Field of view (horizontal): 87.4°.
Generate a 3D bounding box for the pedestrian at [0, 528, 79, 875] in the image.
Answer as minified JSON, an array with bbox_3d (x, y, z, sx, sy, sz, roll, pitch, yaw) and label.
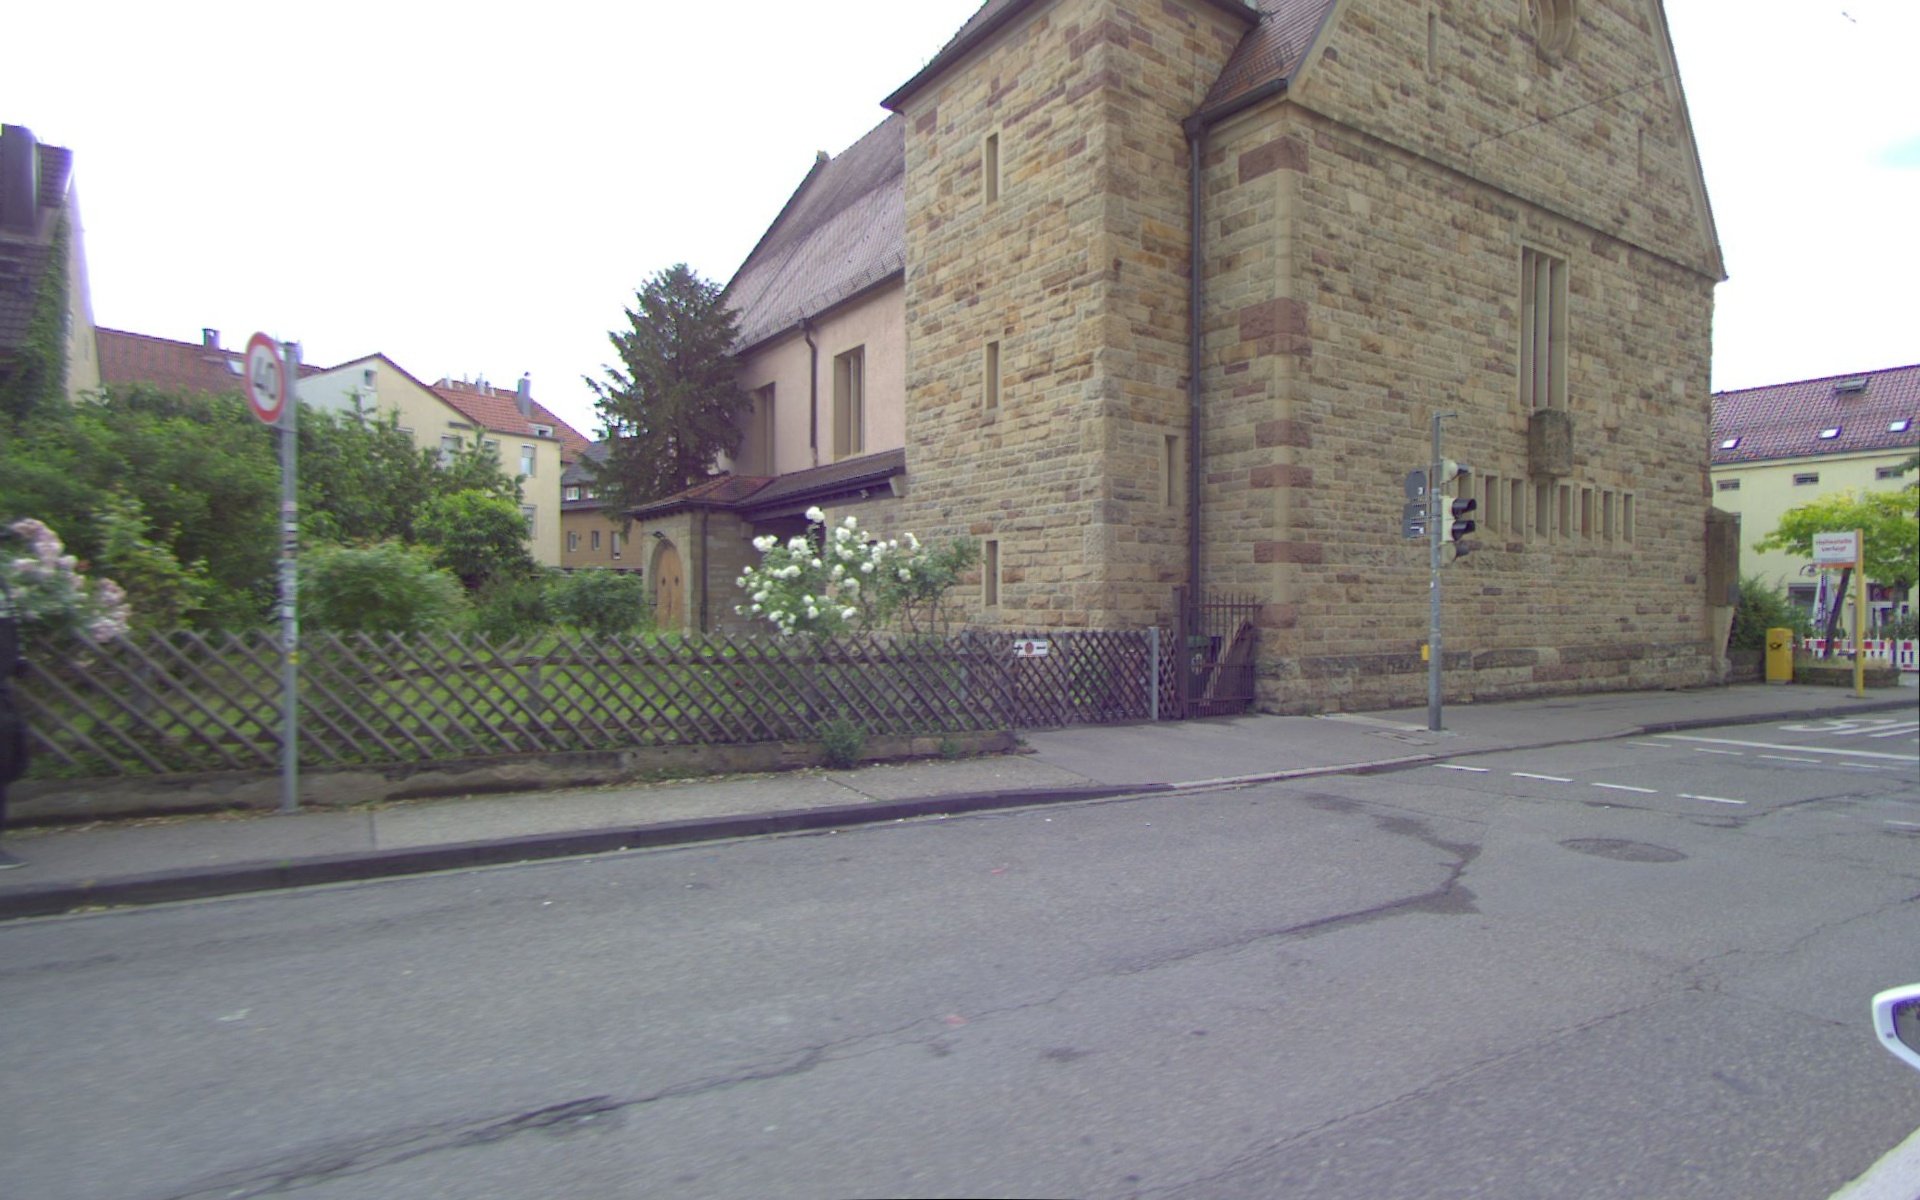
[{"bbox_3d":[-5.408,0.536,5.564,0.688,1.873,0.568,1,3,-30],"label":"pedestrian"}]
